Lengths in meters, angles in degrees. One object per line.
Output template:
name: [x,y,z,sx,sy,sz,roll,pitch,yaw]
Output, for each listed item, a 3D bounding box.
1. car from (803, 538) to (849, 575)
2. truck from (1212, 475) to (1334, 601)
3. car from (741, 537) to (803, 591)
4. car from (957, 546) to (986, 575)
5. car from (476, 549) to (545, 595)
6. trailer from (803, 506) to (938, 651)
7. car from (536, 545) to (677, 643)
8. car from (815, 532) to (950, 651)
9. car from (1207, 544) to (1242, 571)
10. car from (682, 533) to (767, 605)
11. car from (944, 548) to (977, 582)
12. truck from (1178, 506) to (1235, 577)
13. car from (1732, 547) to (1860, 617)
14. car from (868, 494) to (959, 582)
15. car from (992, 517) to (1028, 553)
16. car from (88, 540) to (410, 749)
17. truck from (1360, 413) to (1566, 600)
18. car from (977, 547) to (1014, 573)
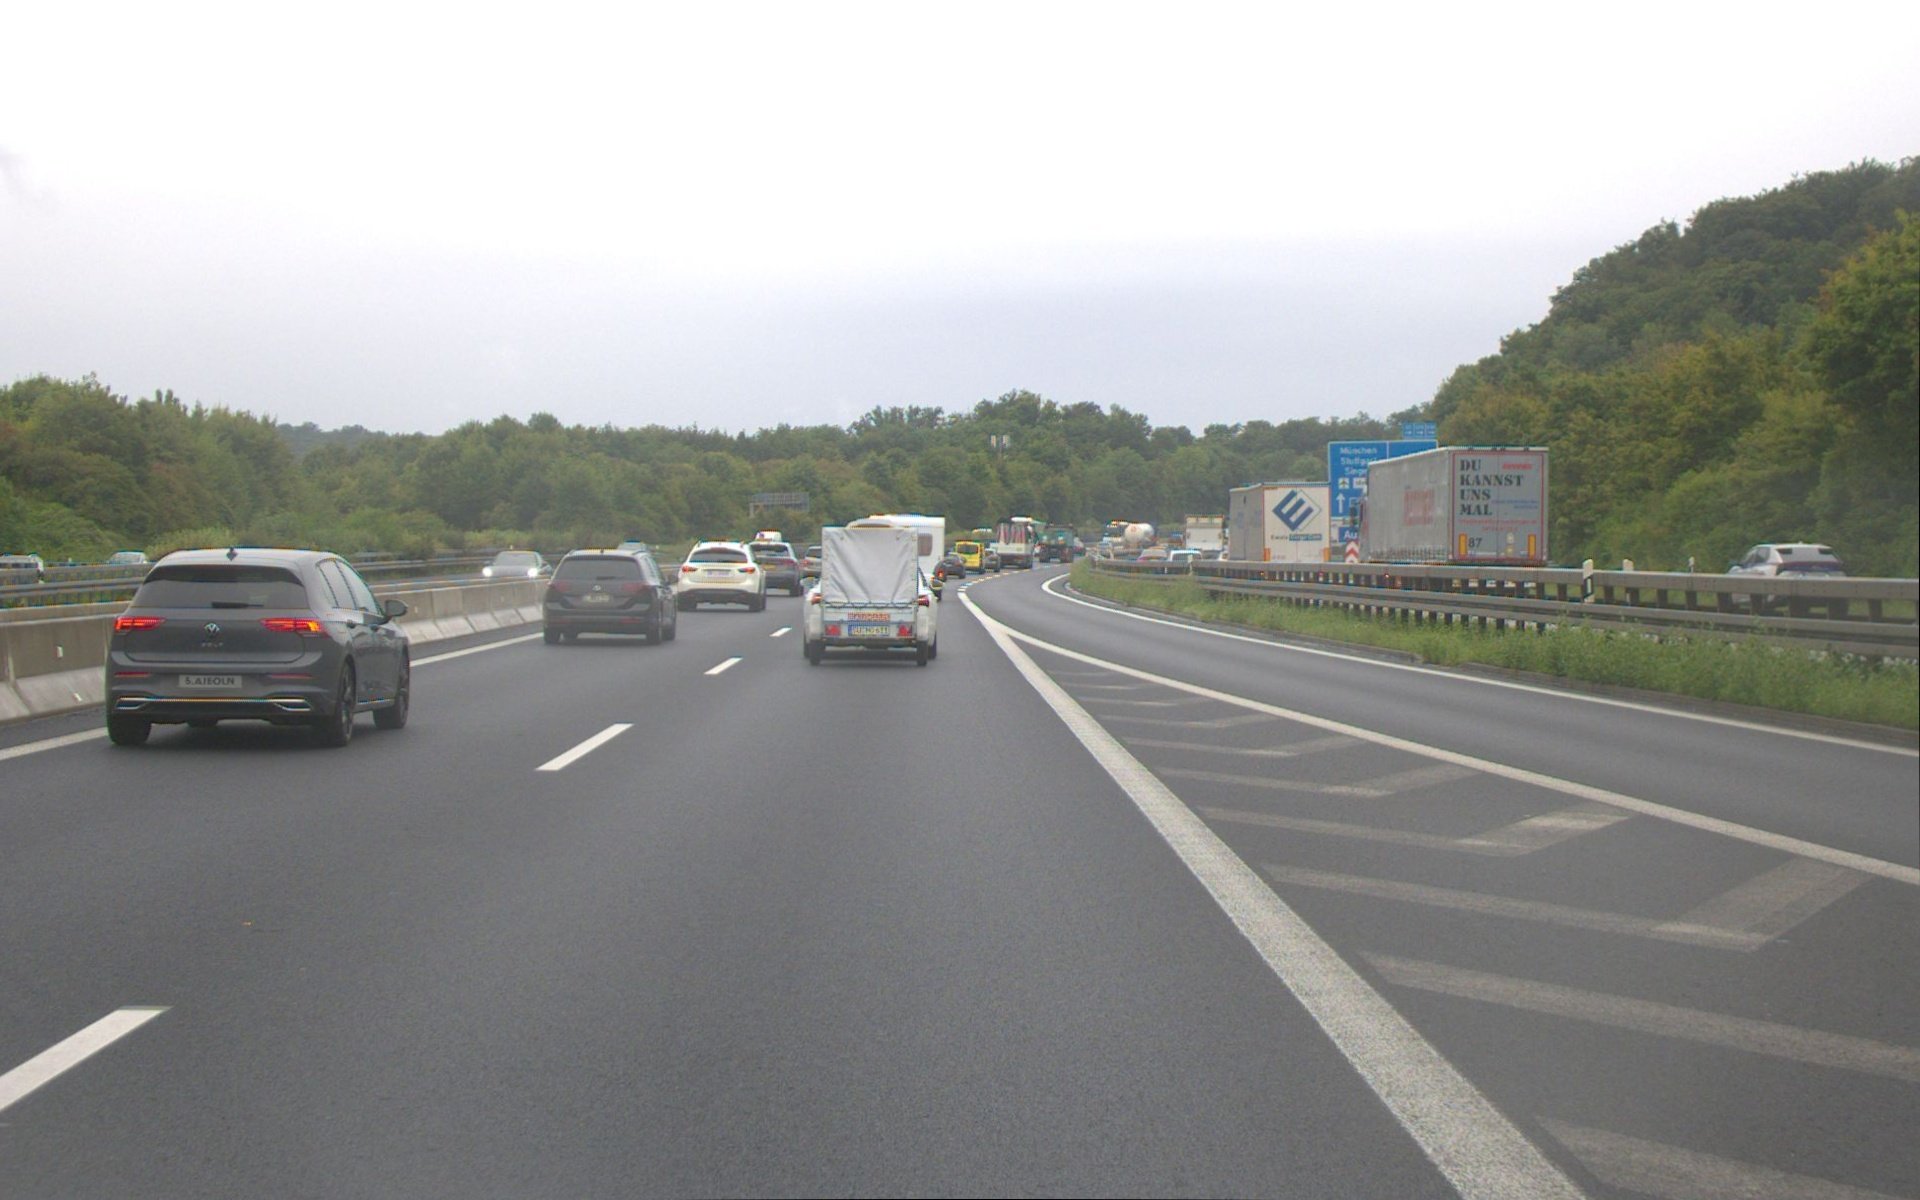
car: [-6.069,-1.962,155.738,1.776,1.634,4.043,1,1,2]
truck: [12.156,-2.397,134.862,3.215,4.650,13.033,1,1,-1]
car: [-5.911,-1.142,108.490,1.775,1.634,4.043,1,1,-1]
car: [0.732,-2.475,216.682,1.676,1.806,4.000,1,1,2]
car: [-14.946,-0.935,114.487,1.756,1.451,4.418,1,1,-1]
trailer: [-1.148,-0.291,45.638,1.676,1.806,4.000,1,1,0]
car: [-5.473,-0.108,53.630,1.765,1.451,4.000,1,1,0]
car: [-1.103,-0.140,49.462,1.818,1.610,4.778,1,1,-1]
car: [14.636,-2.337,190.155,1.676,1.451,4.000,1,1,1]
car: [-5.546,-0.737,81.380,1.775,1.634,4.043,1,1,-1]
car: [0.018,-1.930,188.129,1.676,1.806,4.000,1,1,2]
truck: [16.826,-3.966,234.376,3.663,4.650,13.031,1,1,4]
car: [18.117,-0.396,74.640,1.675,1.451,4.000,1,1,-2]
car: [-1.379,-1.878,105.394,2.507,2.576,5.699,1,1,2]
car: [3.686,-4.762,253.256,2.516,2.566,5.312,1,1,2]
car: [-5.365,0.296,26.392,1.675,1.451,4.000,1,1,-1]
truck: [13.417,-2.428,93.038,3.215,4.650,13.034,1,1,-2]
car: [2.351,-2.691,229.497,2.038,1.677,3.999,1,1,7]
